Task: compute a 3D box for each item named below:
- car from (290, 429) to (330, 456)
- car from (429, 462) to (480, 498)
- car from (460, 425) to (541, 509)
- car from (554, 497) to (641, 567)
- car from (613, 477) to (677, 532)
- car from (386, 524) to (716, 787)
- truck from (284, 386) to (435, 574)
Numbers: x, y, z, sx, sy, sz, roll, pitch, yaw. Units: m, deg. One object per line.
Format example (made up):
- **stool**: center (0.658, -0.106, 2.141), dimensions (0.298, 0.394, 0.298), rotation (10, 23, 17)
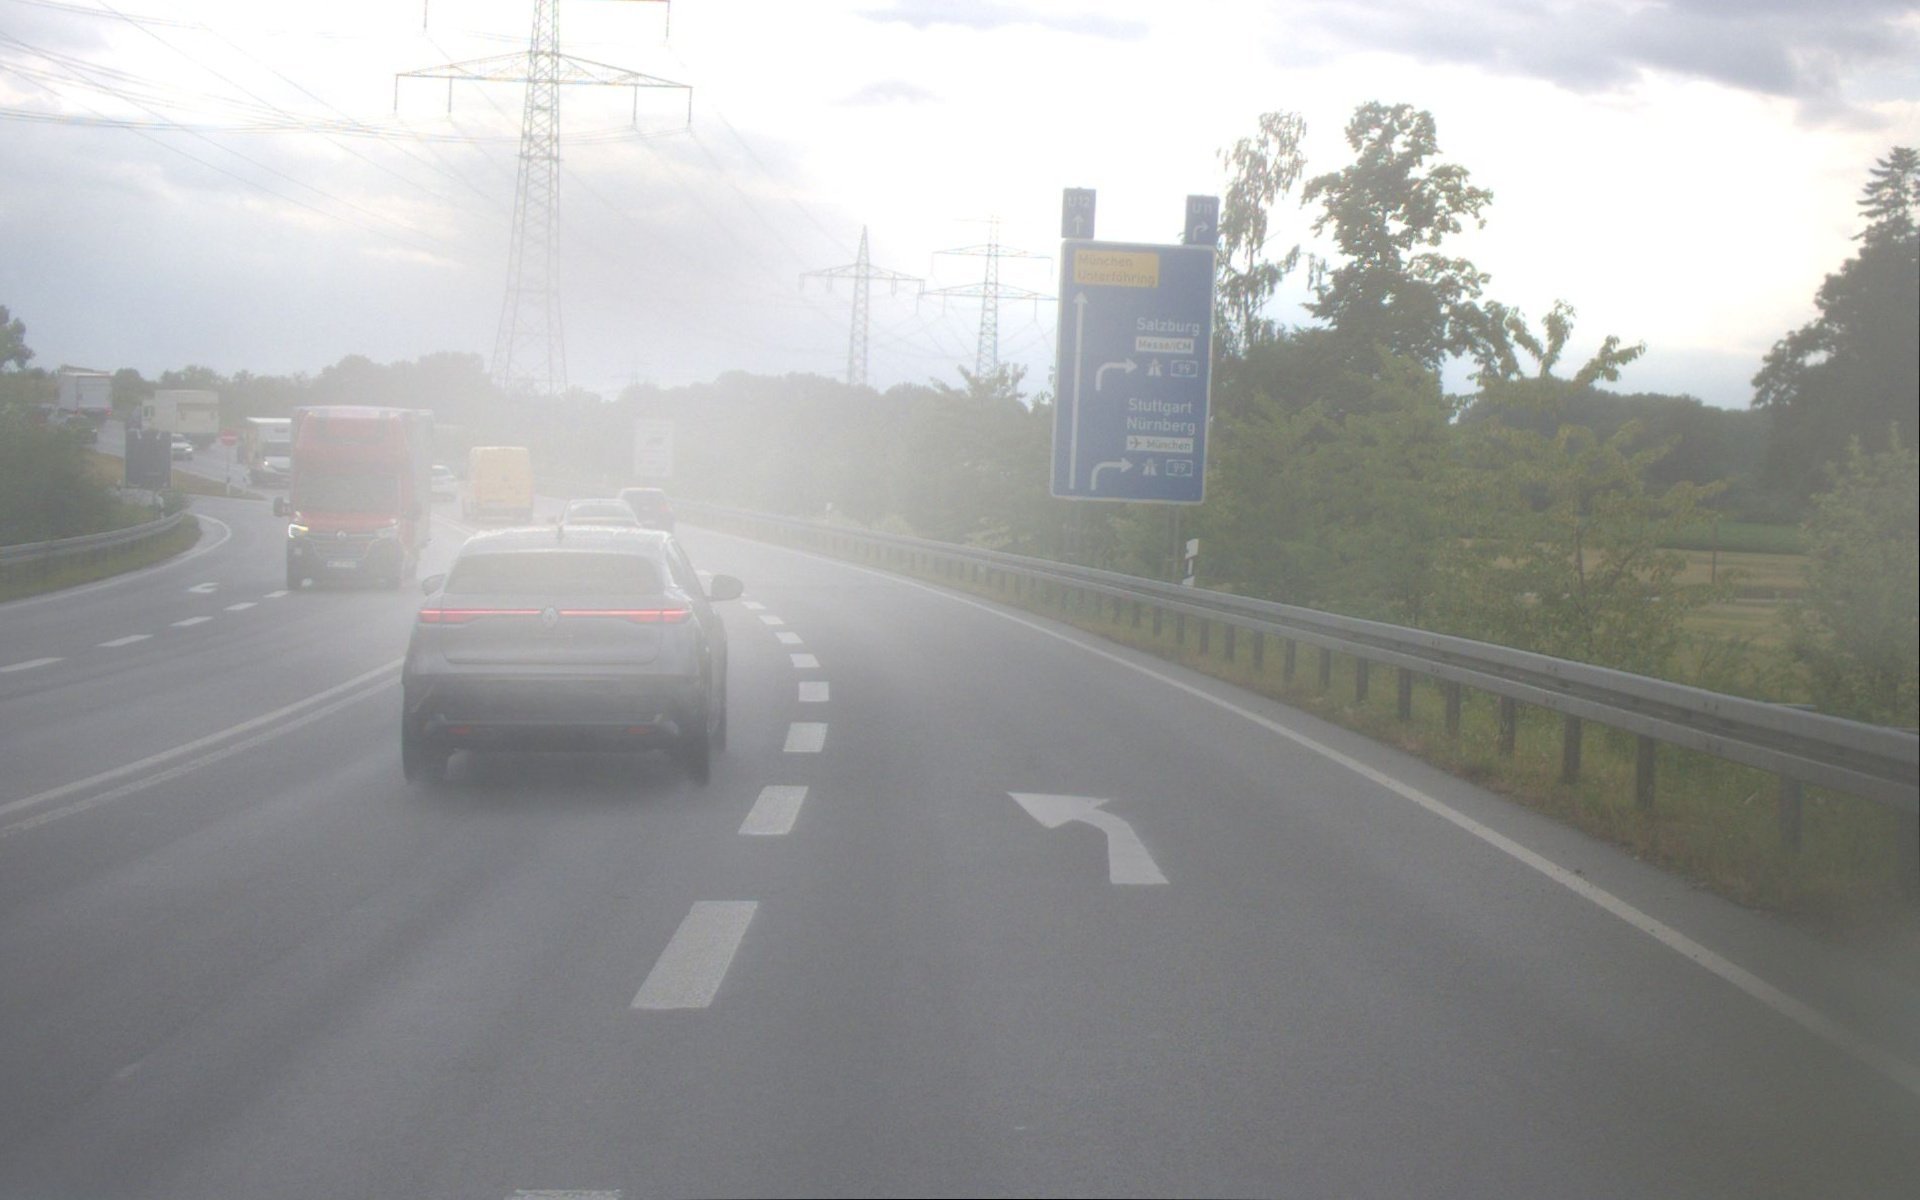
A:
- **car**: center (-37.920, -9.172, 200.525), dimensions (1.799, 1.569, 4.261), rotation (-1, 2, -17)
- **car**: center (-20.844, -4.956, 141.677), dimensions (1.791, 1.436, 4.002), rotation (-1, 2, -12)
- **car**: center (-15.731, -4.510, 117.293), dimensions (2.572, 2.716, 7.198), rotation (1, 2, -9)
- **car**: center (-7.809, -1.493, 74.198), dimensions (1.791, 1.436, 4.001), rotation (1, 2, -6)
- **car**: center (-9.285, -2.799, 101.151), dimensions (1.791, 1.536, 4.001), rotation (1, 1, -6)
- **car**: center (-2.408, 0.274, 21.070), dimensions (1.791, 1.436, 4.001), rotation (1, 1, -4)
- **truck**: center (-11.049, -2.238, 63.735), dimensions (2.480, 3.280, 7.283), rotation (0, 2, -8)
